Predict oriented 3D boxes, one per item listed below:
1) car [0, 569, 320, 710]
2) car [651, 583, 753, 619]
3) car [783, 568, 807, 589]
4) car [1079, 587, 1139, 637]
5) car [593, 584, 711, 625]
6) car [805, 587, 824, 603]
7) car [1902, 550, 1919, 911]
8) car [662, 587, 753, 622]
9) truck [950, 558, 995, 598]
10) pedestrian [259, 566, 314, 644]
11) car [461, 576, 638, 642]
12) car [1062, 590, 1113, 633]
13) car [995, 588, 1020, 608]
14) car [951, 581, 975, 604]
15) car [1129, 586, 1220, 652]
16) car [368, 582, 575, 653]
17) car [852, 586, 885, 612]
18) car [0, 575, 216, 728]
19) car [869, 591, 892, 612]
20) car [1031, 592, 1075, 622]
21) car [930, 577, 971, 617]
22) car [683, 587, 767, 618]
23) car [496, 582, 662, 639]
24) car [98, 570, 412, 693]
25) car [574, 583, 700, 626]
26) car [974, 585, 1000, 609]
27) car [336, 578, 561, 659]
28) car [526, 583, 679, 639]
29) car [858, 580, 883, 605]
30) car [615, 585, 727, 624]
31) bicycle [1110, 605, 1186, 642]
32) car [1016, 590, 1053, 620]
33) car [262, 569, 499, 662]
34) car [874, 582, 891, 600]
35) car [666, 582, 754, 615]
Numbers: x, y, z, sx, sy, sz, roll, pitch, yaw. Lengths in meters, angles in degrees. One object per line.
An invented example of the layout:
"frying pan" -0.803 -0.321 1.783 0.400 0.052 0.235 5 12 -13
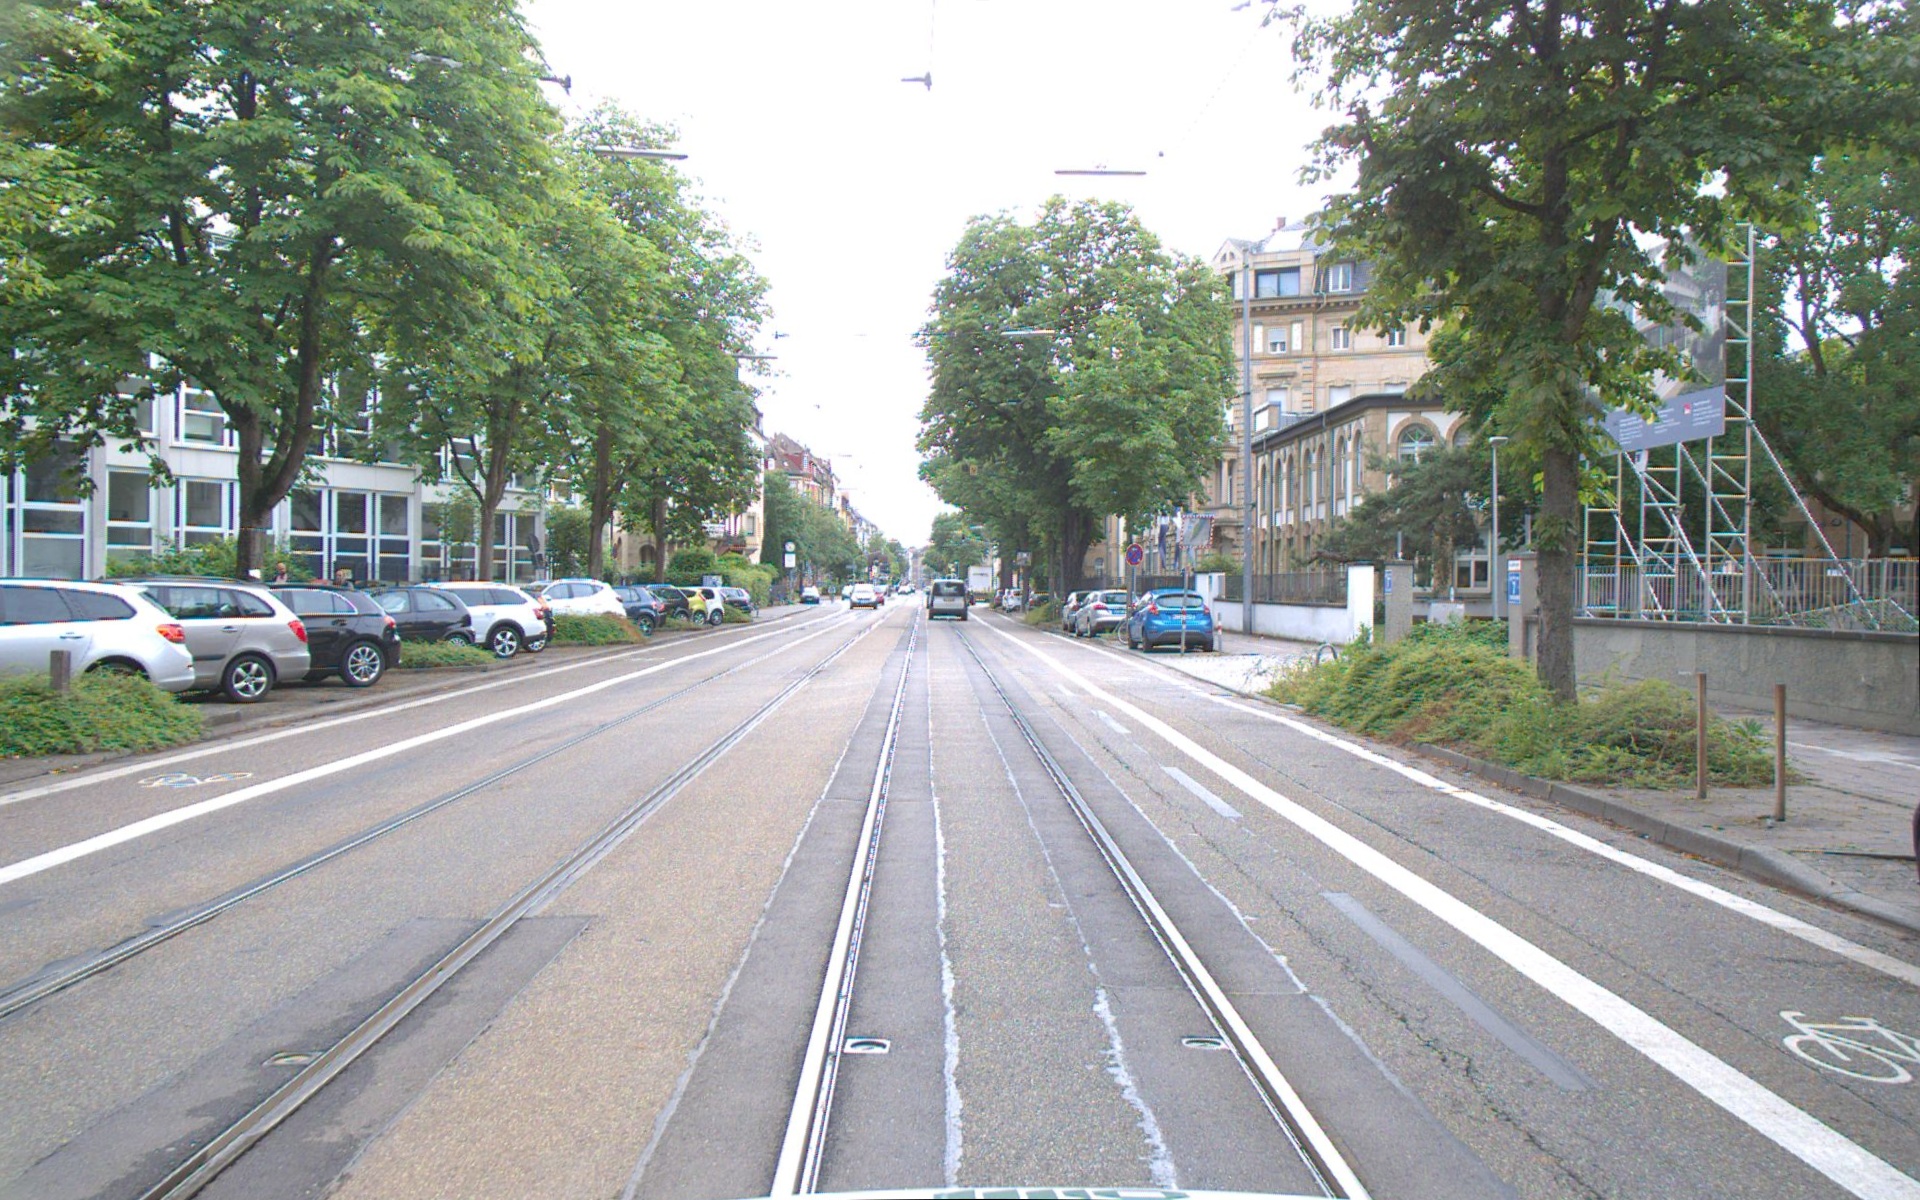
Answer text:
"car" -9.889 0.450 20.108 1.546 1.550 3.626 2 0 44
"car" -10.509 0.064 67.516 1.671 1.375 3.942 2 0 43
"car" -17.448 -2.290 174.969 2.133 2.246 4.218 0 0 0
"car" 4.644 0.350 51.935 1.445 1.506 3.564 1 1 -2
"car" -11.016 0.159 59.280 1.671 1.375 3.942 2 0 43
"car" -13.155 -0.434 149.799 1.609 1.378 3.874 1 0 -5
"car" 5.770 0.678 6.579 1.620 1.844 4.083 1 0 -2
"car" -11.170 0.193 73.138 3.661 1.410 1.686 1 0 -26
"truck" 1.274 -2.333 176.941 3.734 4.100 10.206 1 0 -5
"pedestrian" -14.382 0.108 35.329 0.737 1.640 0.734 2 -1 22
"car" -10.605 0.238 42.985 1.668 1.583 4.324 2 0 39
"car" 4.532 0.374 59.159 1.445 1.453 3.564 1 1 -2
"car" 3.466 -0.141 120.977 1.733 1.423 3.795 0 0 1
"car" 0.277 -0.672 148.337 1.954 2.049 3.998 1 0 -3
"car" 5.142 0.426 39.946 1.640 1.486 3.431 1 1 -2
"car" -10.600 0.392 36.039 3.989 1.430 1.676 1 0 -39
"car" -5.859 -0.086 105.874 1.861 1.557 3.754 -1 1 0
"car" -10.069 0.485 16.619 1.769 1.490 4.411 1 0 38
"car" -6.215 0.132 129.432 1.642 1.549 2.781 1 0 -1
"car" 4.128 0.306 73.709 1.834 1.273 4.001 0 0 1
"car" -0.403 -0.125 76.366 1.774 1.738 3.699 1 0 1
"car" -11.256 0.123 79.149 3.661 1.410 1.686 1 0 -26
"car" -10.570 0.296 46.120 1.671 1.479 4.318 2 0 43
"car" -9.785 0.423 23.121 1.671 1.550 3.680 2 0 44
"car" -10.910 0.156 55.993 1.671 1.375 3.942 2 0 43
"car" 2.049 -0.265 128.270 1.953 1.825 4.000 0 0 0
"car" -10.258 0.374 33.303 3.989 1.510 1.676 1 0 -39
"car" -10.670 0.342 49.582 1.671 1.562 4.318 2 0 43
"car" -9.201 -0.784 170.322 2.159 2.459 4.002 0 0 3
"car" -10.873 0.167 62.335 1.671 1.375 3.942 2 0 43
"bicycle" 5.076 0.627 44.752 1.973 0.973 0.533 0 0 -5
"car" 3.651 0.211 81.638 1.754 1.423 3.795 0 0 1
"car" -10.406 0.269 29.849 1.671 1.550 3.680 2 0 44
"car" -10.007 -1.190 214.206 2.160 2.295 3.999 0 0 -1
"car" -11.494 -0.063 75.945 3.661 1.410 1.686 1 0 -26
